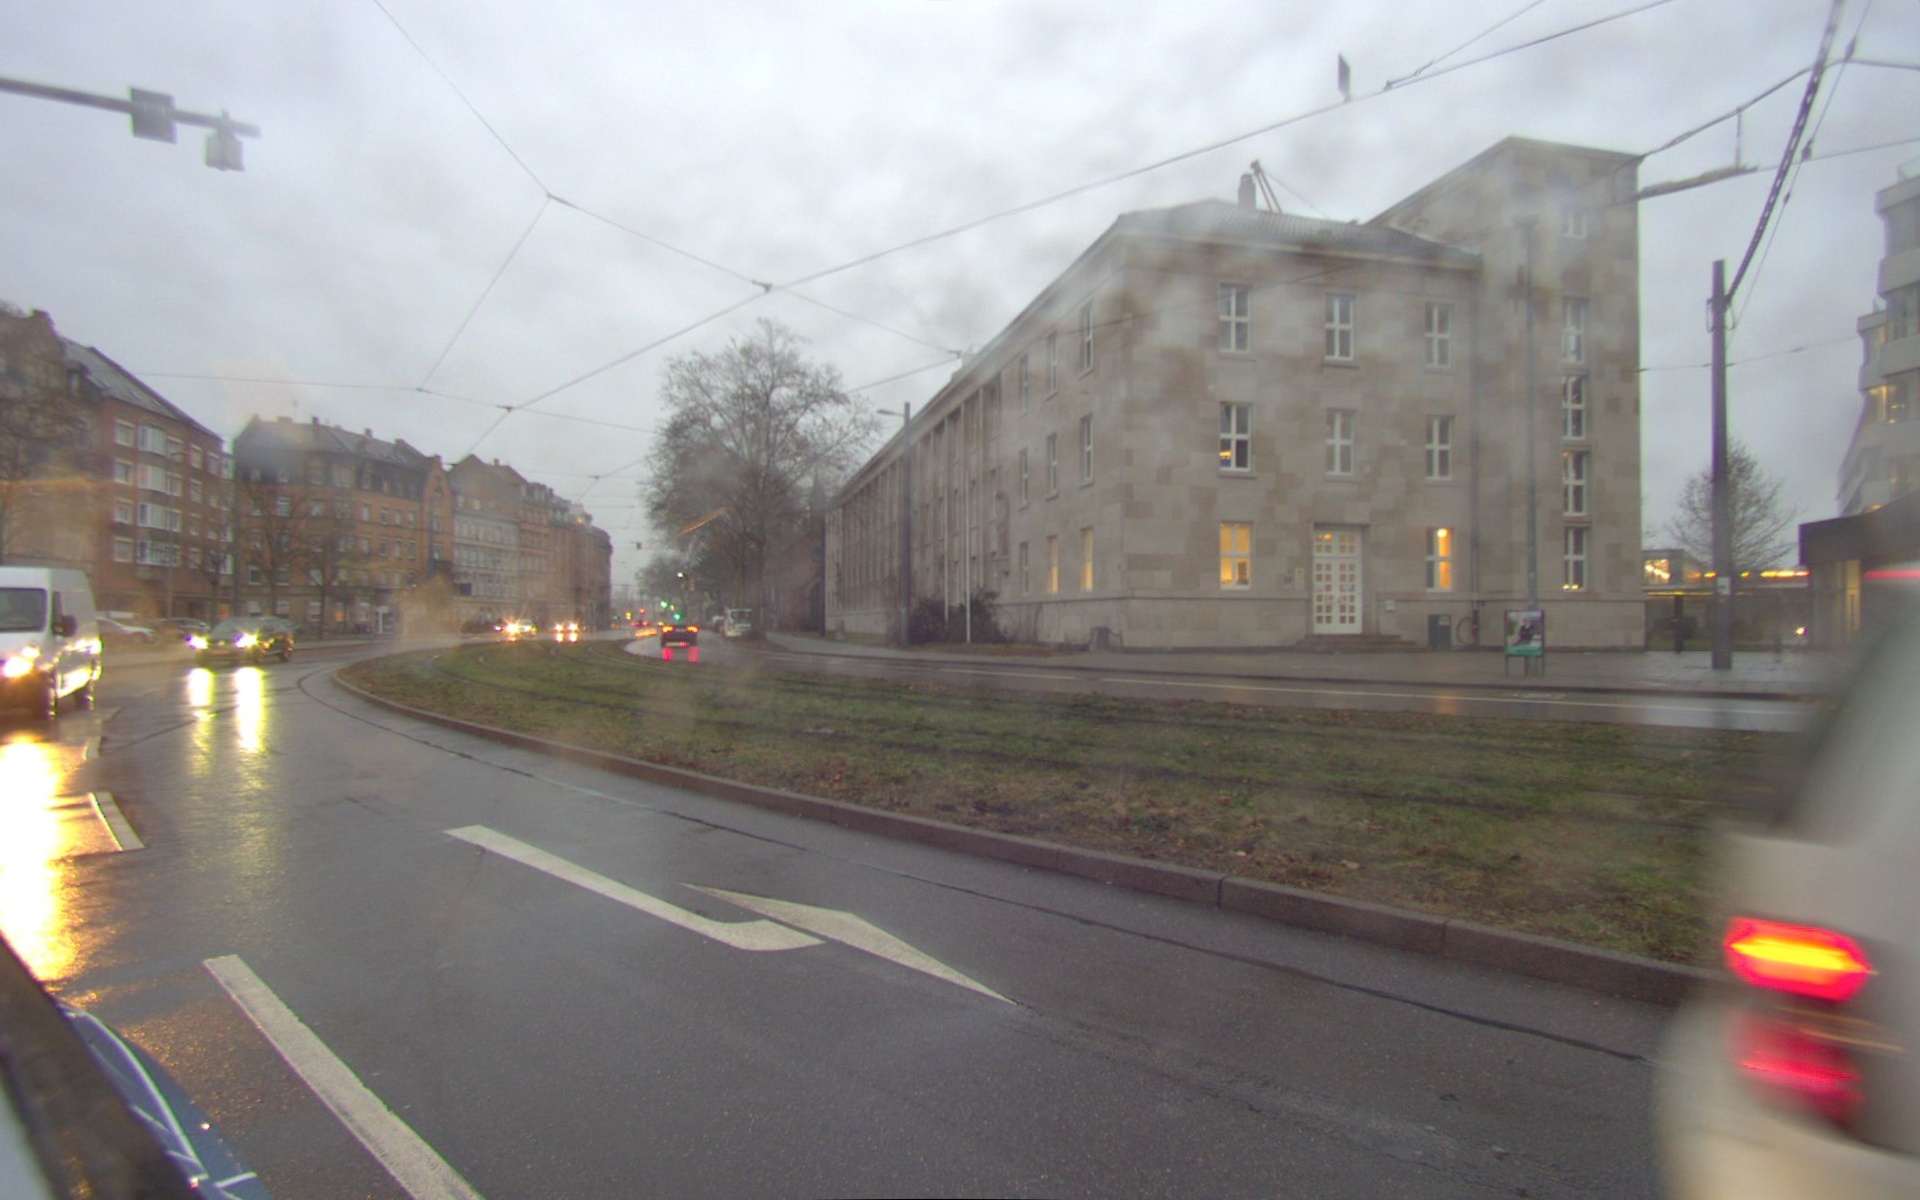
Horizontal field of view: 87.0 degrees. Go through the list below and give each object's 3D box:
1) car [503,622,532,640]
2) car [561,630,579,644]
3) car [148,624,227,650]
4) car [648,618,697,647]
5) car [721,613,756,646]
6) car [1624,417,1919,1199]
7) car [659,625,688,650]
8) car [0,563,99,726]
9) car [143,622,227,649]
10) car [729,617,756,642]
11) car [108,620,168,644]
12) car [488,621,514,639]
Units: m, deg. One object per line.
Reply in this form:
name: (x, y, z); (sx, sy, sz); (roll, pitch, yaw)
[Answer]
car: (-36.245, 2.543, 82.983); (1.865, 1.424, 3.959); (0, -2, -19)
car: (-42.701, 4.078, 110.816); (1.809, 1.497, 3.533); (0, -2, -22)
car: (-46.281, 2.196, 60.697); (3.706, 1.364, 1.605); (-2, 0, -39)
car: (-15.004, 1.658, 52.743); (1.633, 1.411, 4.538); (-2, 0, -26)
car: (-14.573, 1.903, 66.361); (1.966, 2.029, 4.522); (-2, 0, -15)
car: (3.132, 0.528, 0.806); (4.145, 1.672, 1.653); (-2, 0, 41)
car: (-19.368, 2.521, 68.428); (1.796, 1.446, 4.669); (-2, 0, -16)
car: (-16.178, 0.722, 16.865); (2.095, 2.398, 5.653); (-1, -1, -34)
car: (-44.157, 1.990, 57.699); (3.706, 1.364, 1.605); (-2, 0, -39)
car: (-13.330, 1.806, 61.905); (1.535, 1.439, 2.963); (0, 0, -14)
car: (-53.867, 2.087, 66.380); (1.449, 1.555, 3.881); (0, -2, -12)
car: (-42.741, 2.762, 94.310); (1.694, 1.630, 3.950); (0, -2, -17)
